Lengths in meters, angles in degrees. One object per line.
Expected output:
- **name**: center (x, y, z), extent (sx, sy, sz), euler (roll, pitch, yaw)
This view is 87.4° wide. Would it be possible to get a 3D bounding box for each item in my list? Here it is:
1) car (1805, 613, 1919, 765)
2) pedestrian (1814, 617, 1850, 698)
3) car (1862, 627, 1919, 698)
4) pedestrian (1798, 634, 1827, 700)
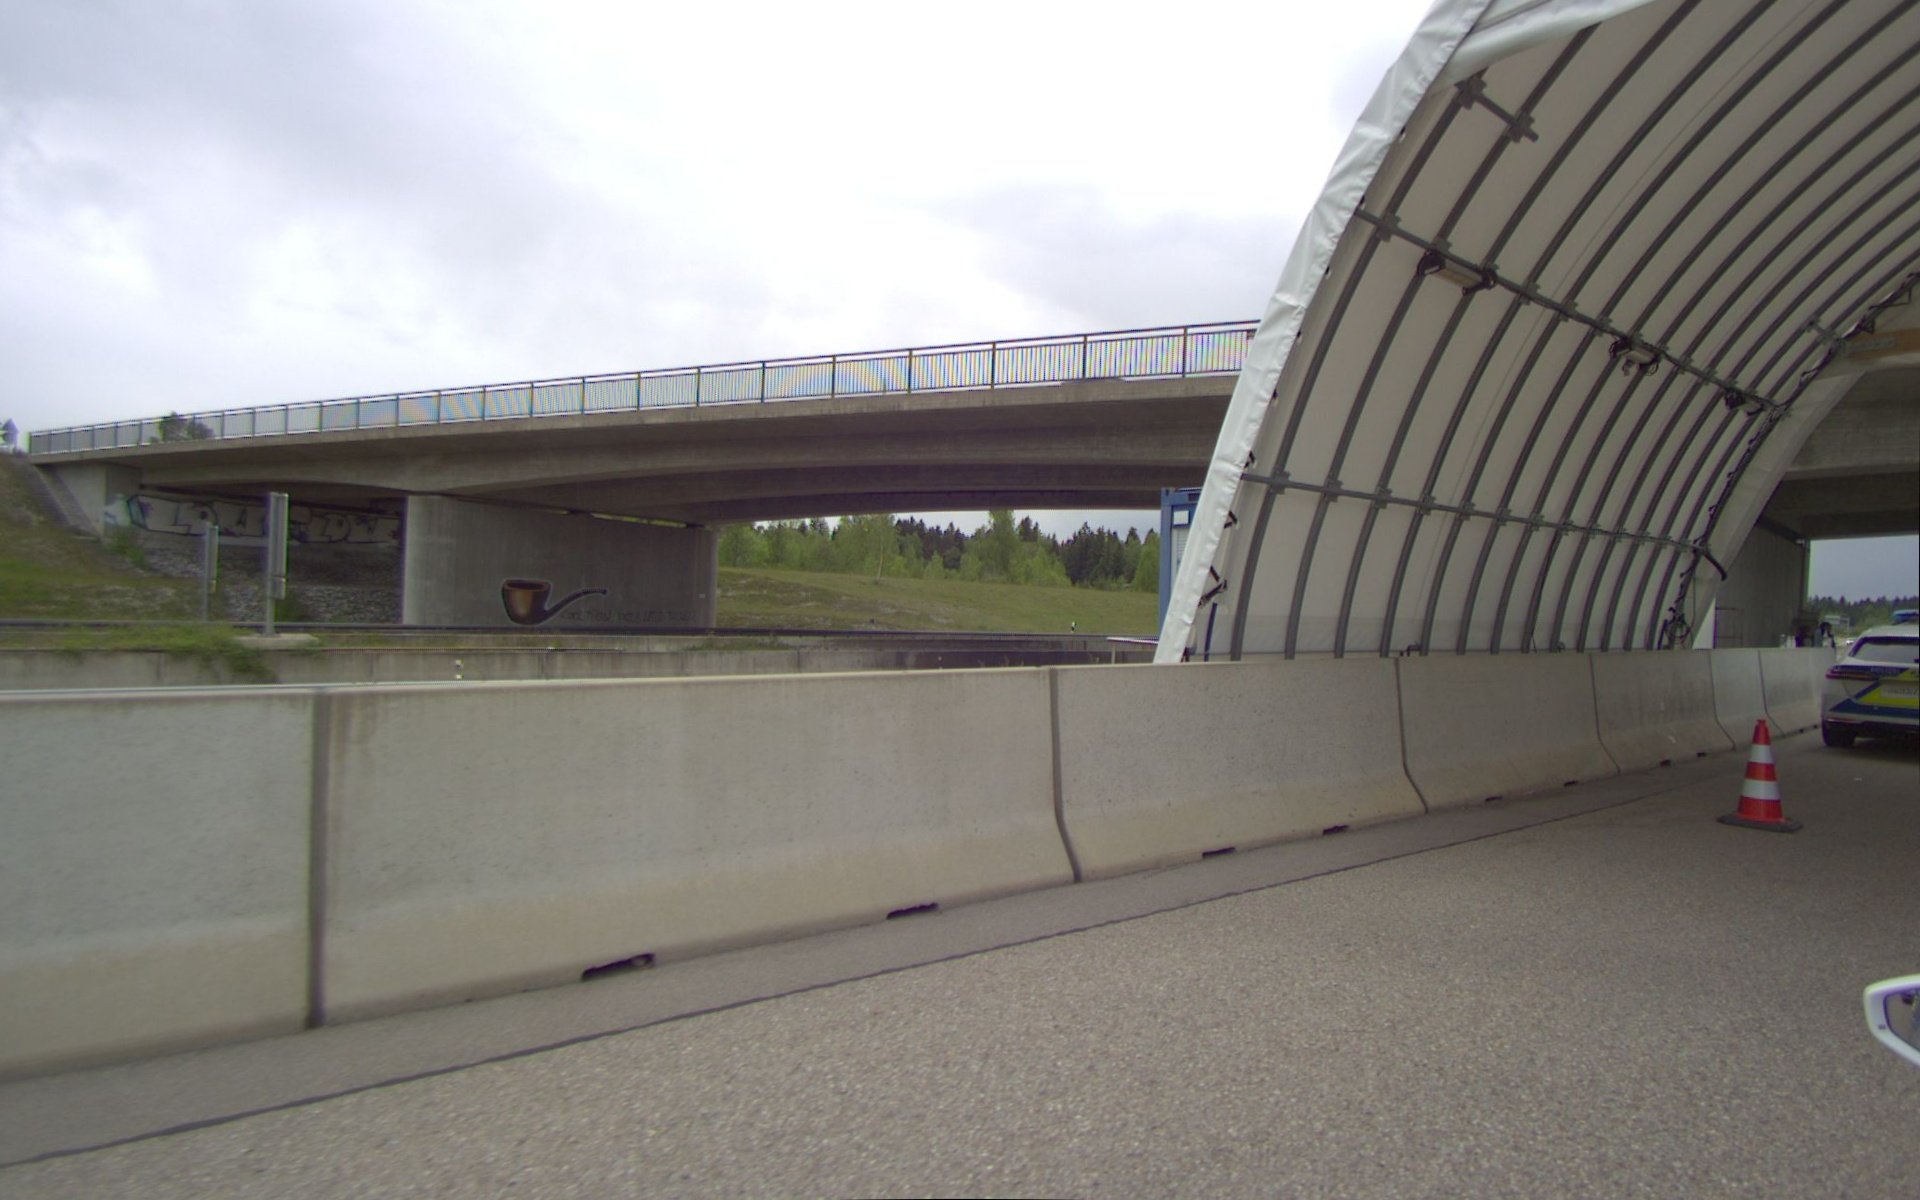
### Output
- **car**: center (12.006, 1.040, 12.324), extent (3.967, 1.668, 1.862), euler (2, -2, -40)
- **pedestrian**: center (22.225, 1.449, 25.595), extent (0.651, 2.040, 0.619), euler (2, -1, -41)
- **car**: center (28.904, 1.832, 28.414), extent (1.811, 2.040, 4.804), euler (2, -1, -17)
- **pedestrian**: center (20.672, 1.625, 24.353), extent (0.460, 1.567, 0.497), euler (2, -1, -45)
